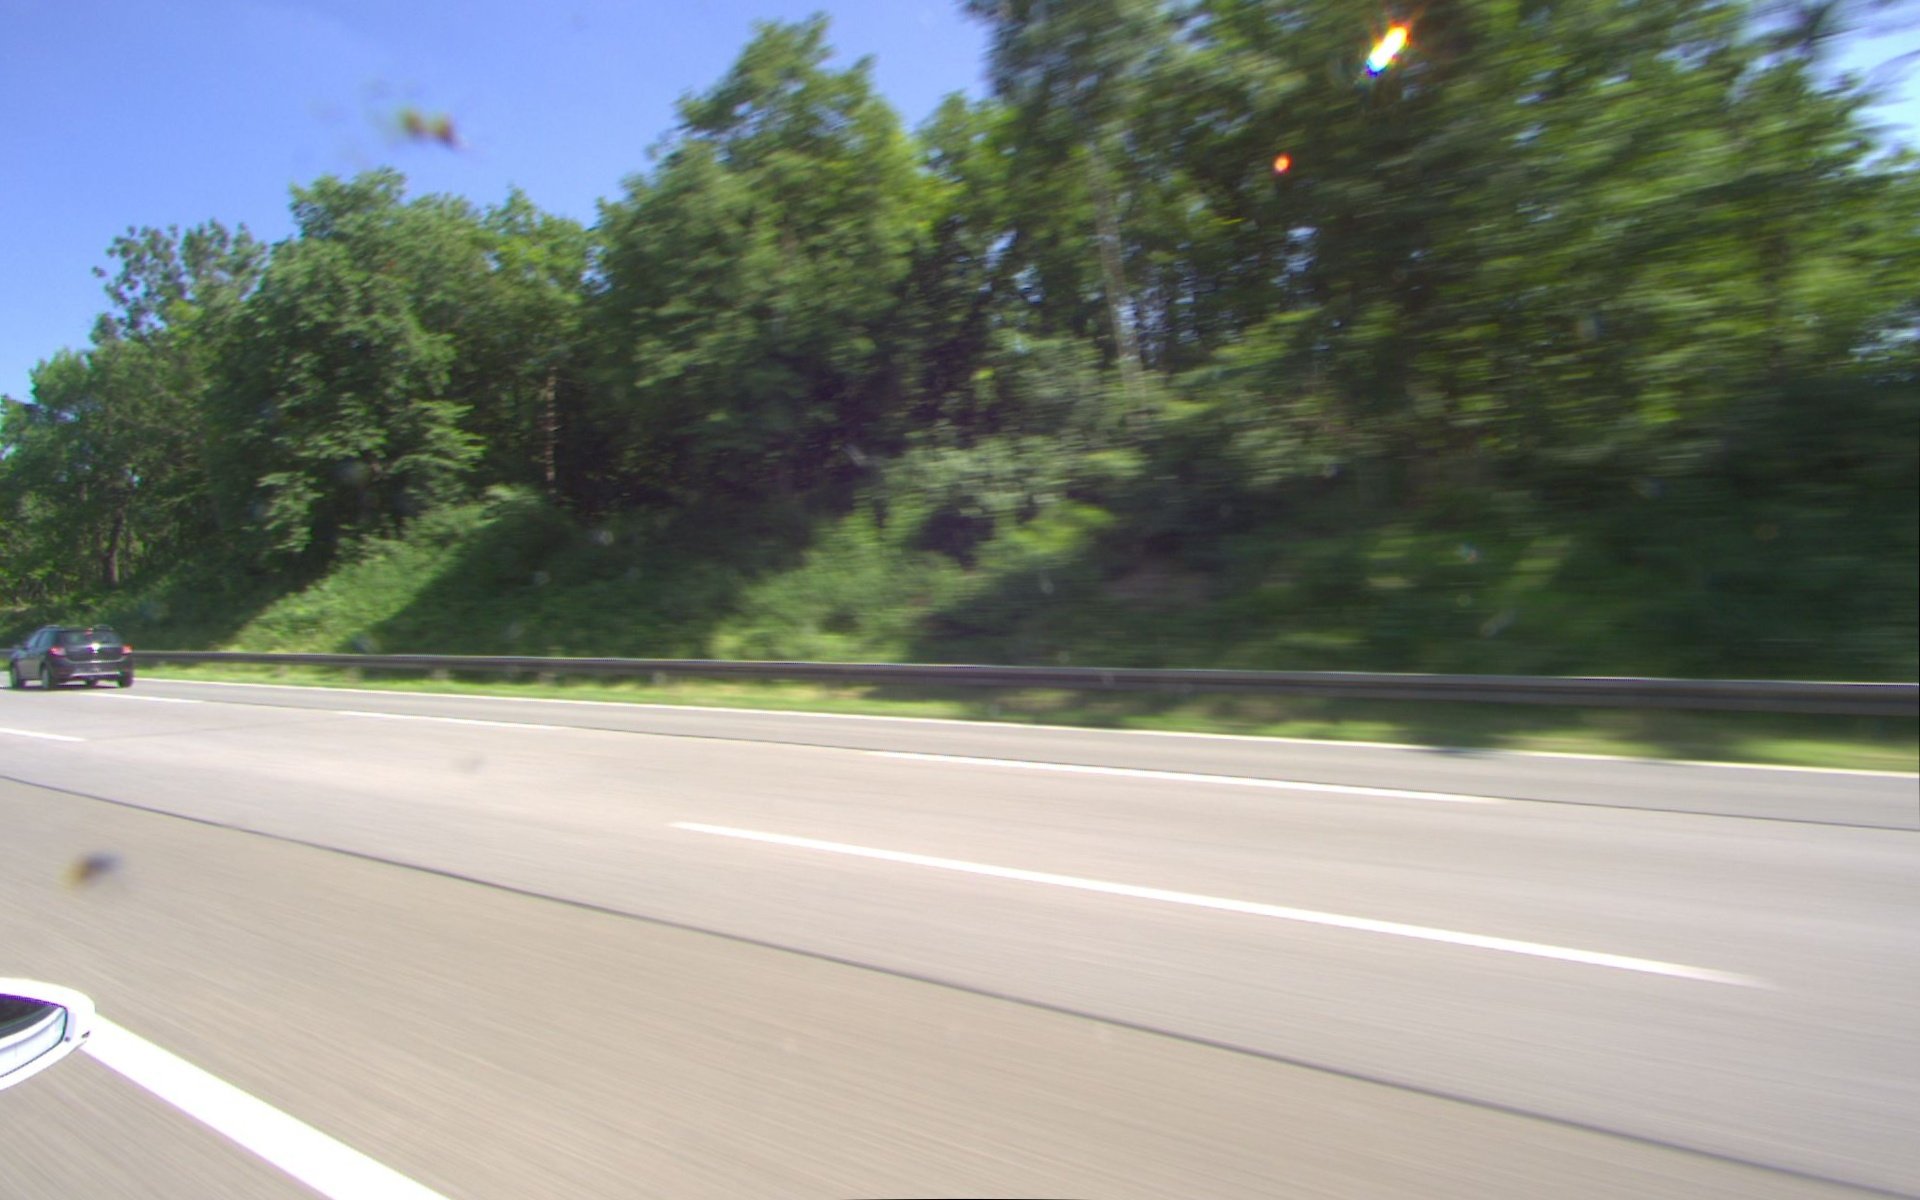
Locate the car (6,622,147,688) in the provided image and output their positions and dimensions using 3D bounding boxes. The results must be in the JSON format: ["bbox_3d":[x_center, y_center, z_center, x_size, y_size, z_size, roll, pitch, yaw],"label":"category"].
[{"bbox_3d":[-22.981,1.371,26.008,4.200,1.588,1.761,-1,-1,34],"label":"car"}]
